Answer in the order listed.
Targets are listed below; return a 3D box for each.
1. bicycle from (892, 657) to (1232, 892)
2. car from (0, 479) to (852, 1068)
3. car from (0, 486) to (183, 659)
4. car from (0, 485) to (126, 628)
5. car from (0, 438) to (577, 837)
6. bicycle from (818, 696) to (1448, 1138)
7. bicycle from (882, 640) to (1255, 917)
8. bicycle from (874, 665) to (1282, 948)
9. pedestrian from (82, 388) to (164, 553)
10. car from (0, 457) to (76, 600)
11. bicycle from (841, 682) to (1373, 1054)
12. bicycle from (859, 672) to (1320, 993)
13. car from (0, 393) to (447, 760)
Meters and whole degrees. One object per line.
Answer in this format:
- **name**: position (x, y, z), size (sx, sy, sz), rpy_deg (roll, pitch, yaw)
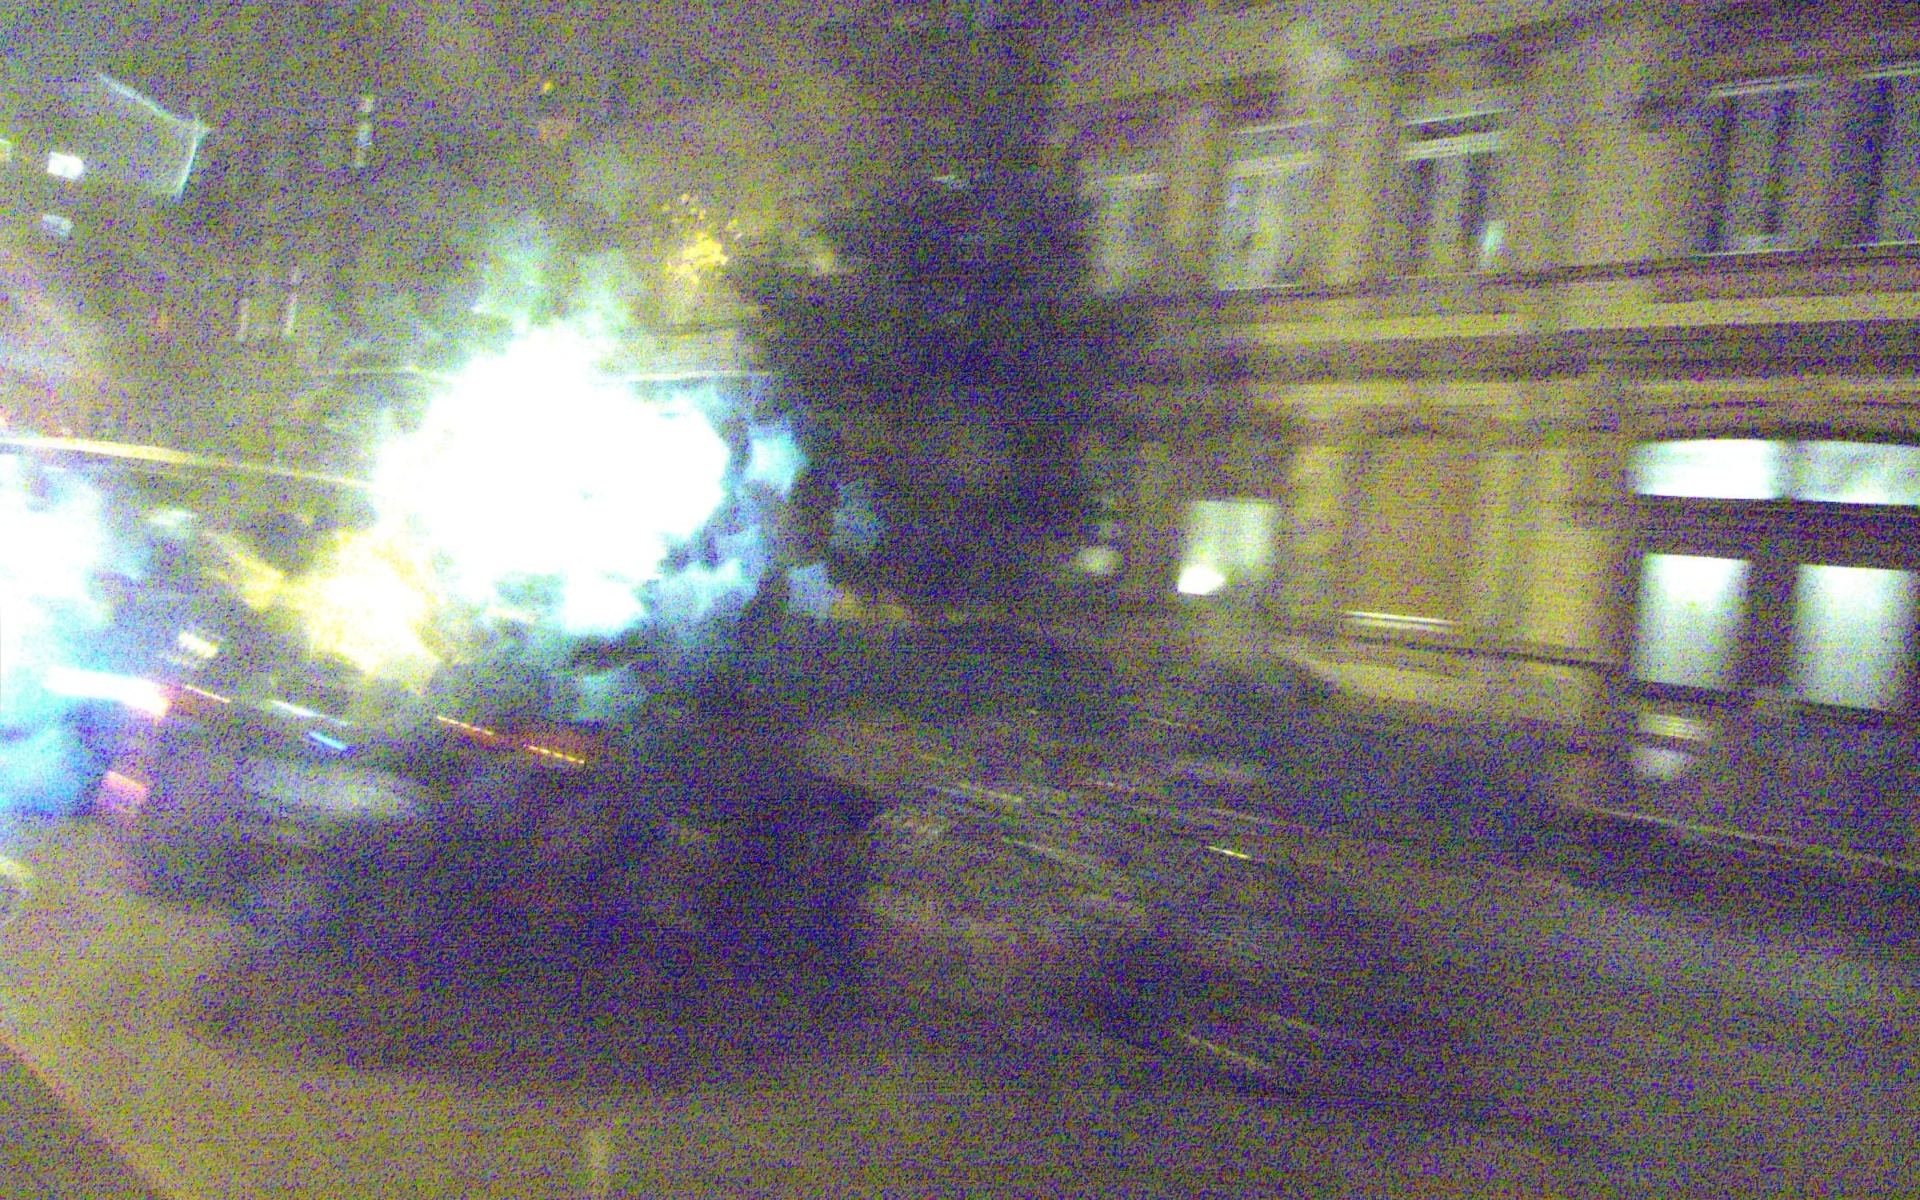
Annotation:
- **bicycle**: position (0.570, 0.992, 5.861), size (1.793, 1.090, 0.446), rpy_deg (7, 1, 0)
- **car**: position (-1.790, 0.486, 4.894), size (1.702, 1.512, 3.999), rpy_deg (6, 1, 4)
- **car**: position (-9.085, -0.316, 9.008), size (1.423, 1.513, 3.513), rpy_deg (6, 1, 0)
- **car**: position (-10.963, -0.541, 10.439), size (1.695, 1.503, 3.561), rpy_deg (6, 1, -4)
- **car**: position (-4.095, 0.141, 6.455), size (1.615, 1.733, 3.564), rpy_deg (6, 1, 3)
- **bicycle**: position (0.522, 0.987, 3.307), size (1.793, 1.090, 0.519), rpy_deg (7, 1, 0)
- **bicycle**: position (0.558, 0.930, 5.397), size (1.793, 1.206, 0.446), rpy_deg (7, 1, 0)
- **bicycle**: position (0.551, 0.982, 4.923), size (1.793, 1.090, 0.446), rpy_deg (7, 1, 0)
- **pedestrian**: position (-19.133, -2.944, 23.007), size (0.778, 3.569, 0.893), rpy_deg (7, -1, 32)
- **car**: position (-13.281, -0.998, 12.306), size (1.695, 1.864, 3.745), rpy_deg (6, 1, -5)
- **bicycle**: position (0.525, 0.986, 3.867), size (1.793, 1.090, 0.519), rpy_deg (7, 1, 0)
- **bicycle**: position (0.534, 0.981, 4.419), size (1.793, 1.090, 0.519), rpy_deg (7, 1, 0)
- **car**: position (-6.364, -0.202, 7.784), size (2.028, 2.073, 4.801), rpy_deg (8, -1, 1)
